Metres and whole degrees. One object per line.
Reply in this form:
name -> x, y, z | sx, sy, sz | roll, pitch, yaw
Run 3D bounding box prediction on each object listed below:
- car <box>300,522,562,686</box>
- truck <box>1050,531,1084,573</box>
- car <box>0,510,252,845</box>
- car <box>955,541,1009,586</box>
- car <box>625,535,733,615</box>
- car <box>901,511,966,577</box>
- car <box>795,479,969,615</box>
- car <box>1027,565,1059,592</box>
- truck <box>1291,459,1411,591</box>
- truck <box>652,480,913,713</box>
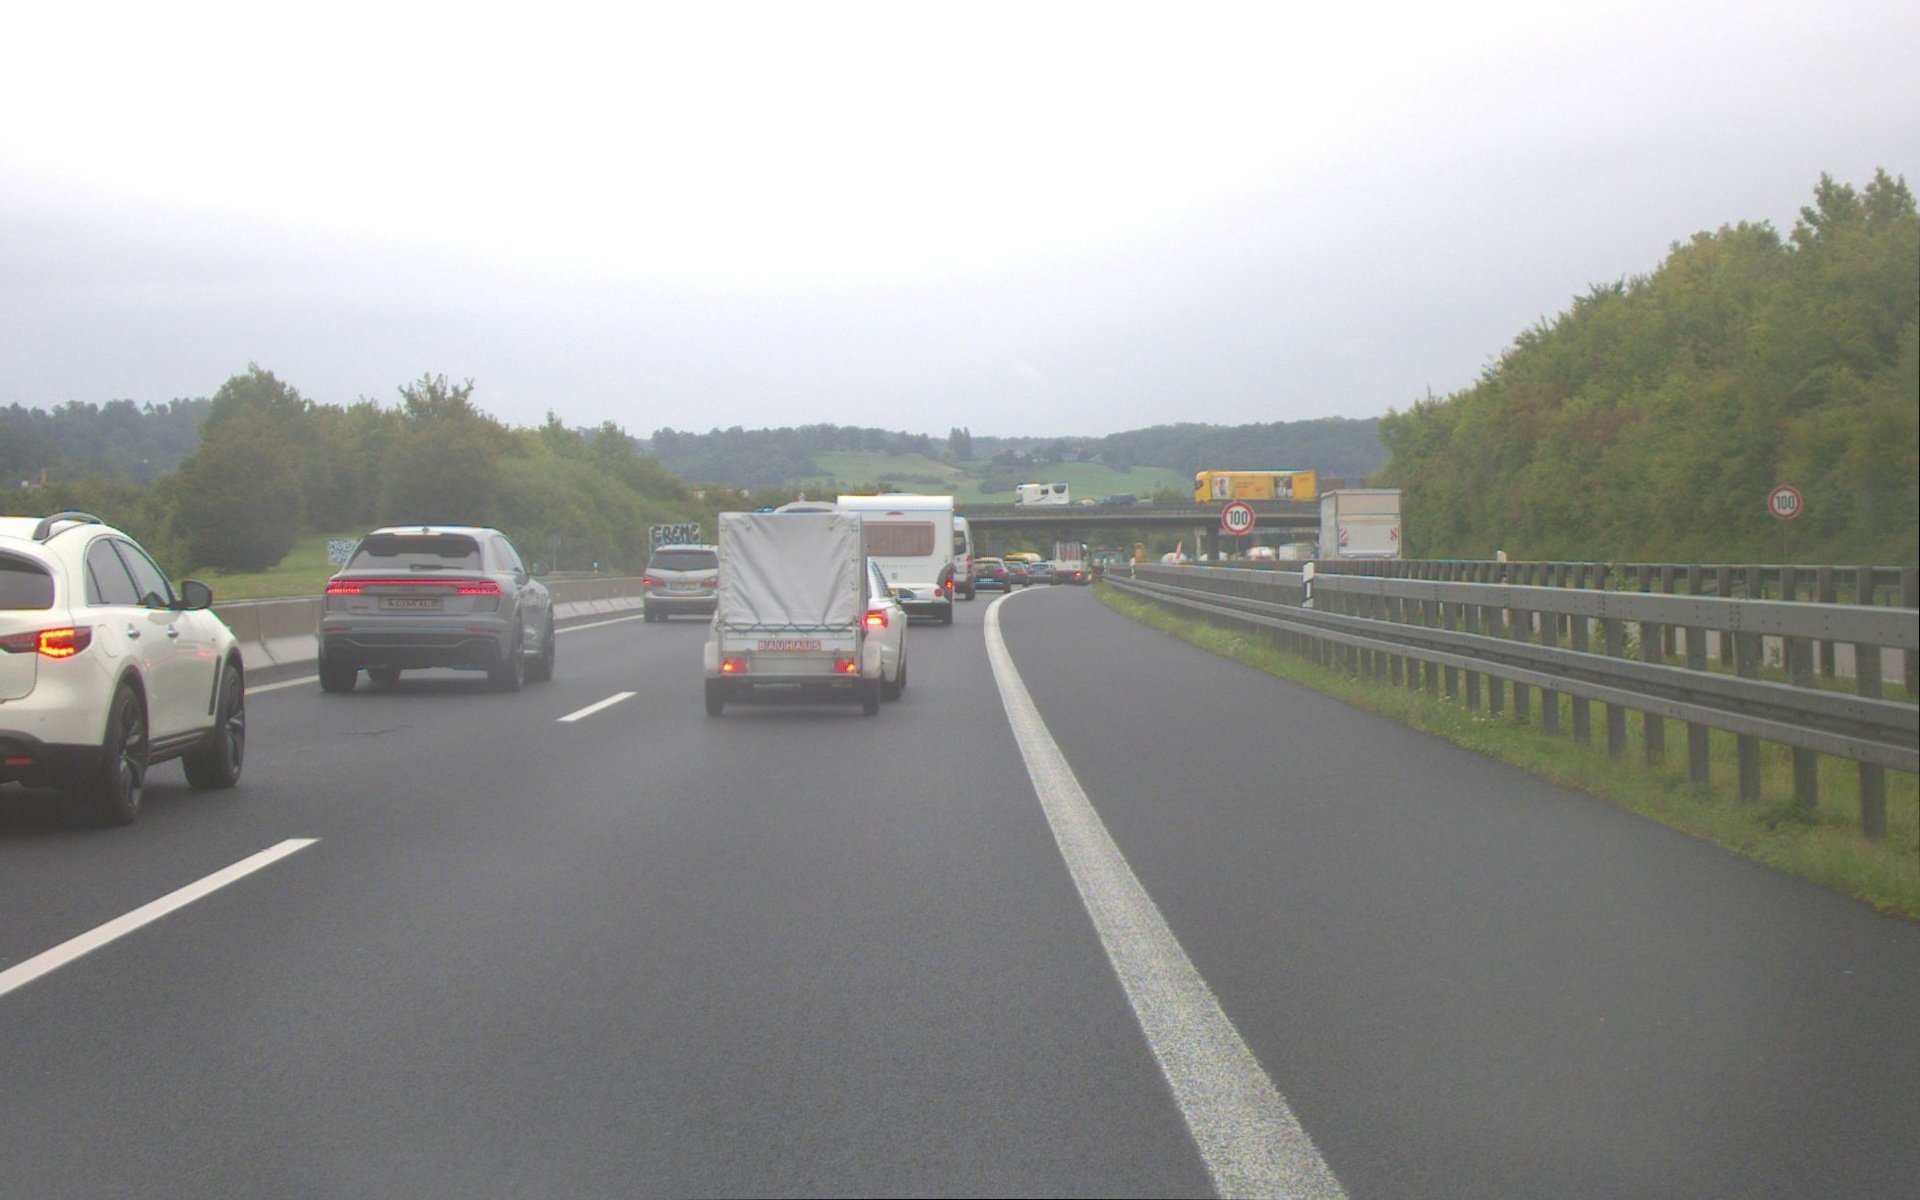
car -> -5.517, 0.011, 36.434 | 2.174, 1.626, 4.501 | 0, 1, -1
truck -> 8.132, -3.617, 260.524 | 2.278, 3.072, 7.245 | 1, 1, 4
car -> -5.324, 0.354, 19.006 | 1.976, 1.633, 4.501 | 0, 1, -1
car -> 0.883, -1.435, 137.021 | 1.994, 1.744, 4.000 | 1, 1, 2
car -> -5.805, -0.542, 71.499 | 1.900, 1.607, 4.017 | 0, 1, 0
car -> -0.875, -1.788, 110.555 | 1.993, 2.029, 4.152 | 1, 1, -1
car -> -1.493, -1.078, 69.260 | 3.017, 2.607, 6.074 | 0, 1, 3
car -> 5.597, -1.457, 231.765 | 1.994, 1.744, 4.000 | 1, 1, 4
truck -> 15.642, -3.012, 138.417 | 4.094, 5.086, 10.463 | 0, 1, 3
truck -> -1.566, -0.091, 32.981 | 2.019, 1.979, 7.213 | 0, 1, 1
